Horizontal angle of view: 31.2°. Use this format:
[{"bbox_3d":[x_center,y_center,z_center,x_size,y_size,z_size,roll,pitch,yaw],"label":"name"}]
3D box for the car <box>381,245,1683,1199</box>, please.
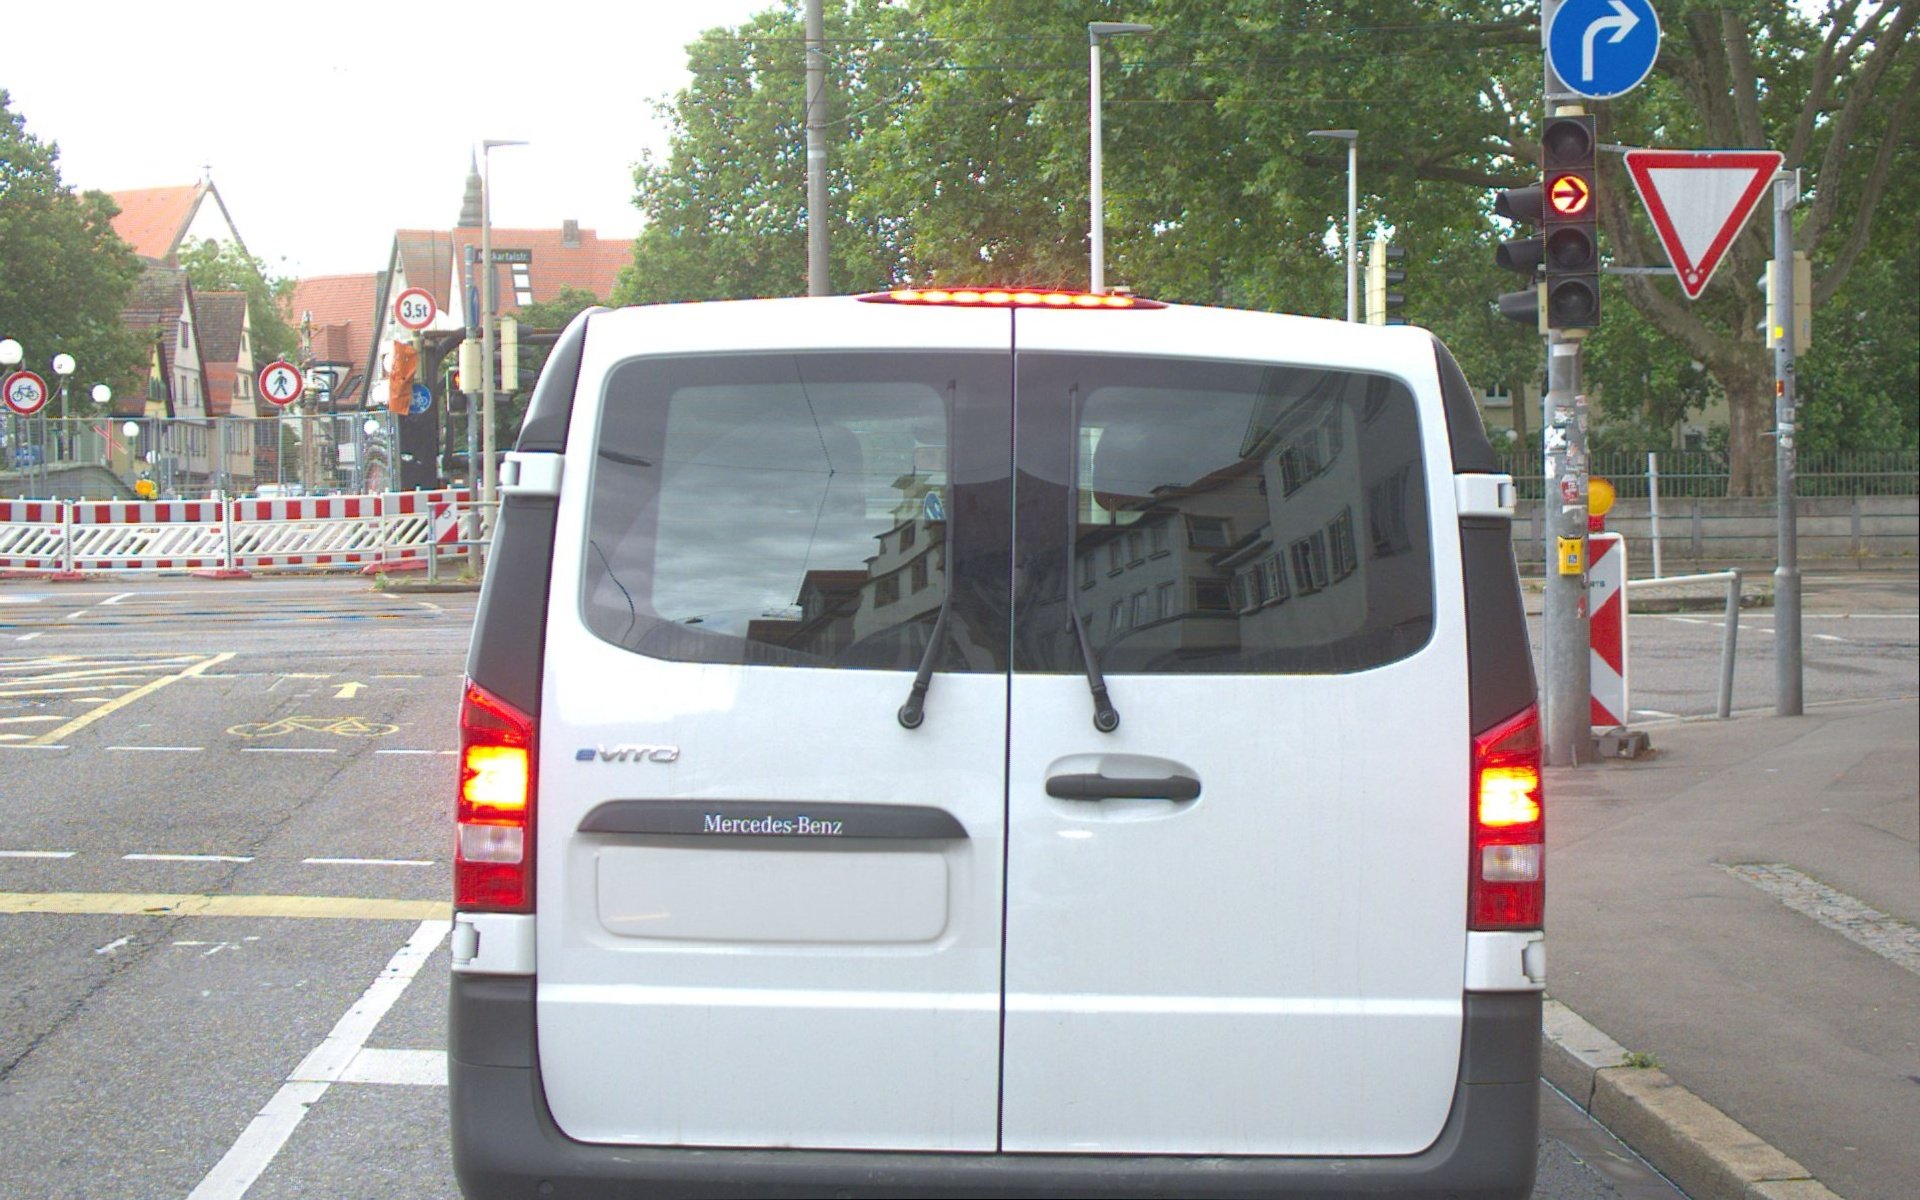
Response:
[{"bbox_3d":[-0.024,0.322,7.428,1.993,1.916,4.250,1,3,-4],"label":"car"}]
